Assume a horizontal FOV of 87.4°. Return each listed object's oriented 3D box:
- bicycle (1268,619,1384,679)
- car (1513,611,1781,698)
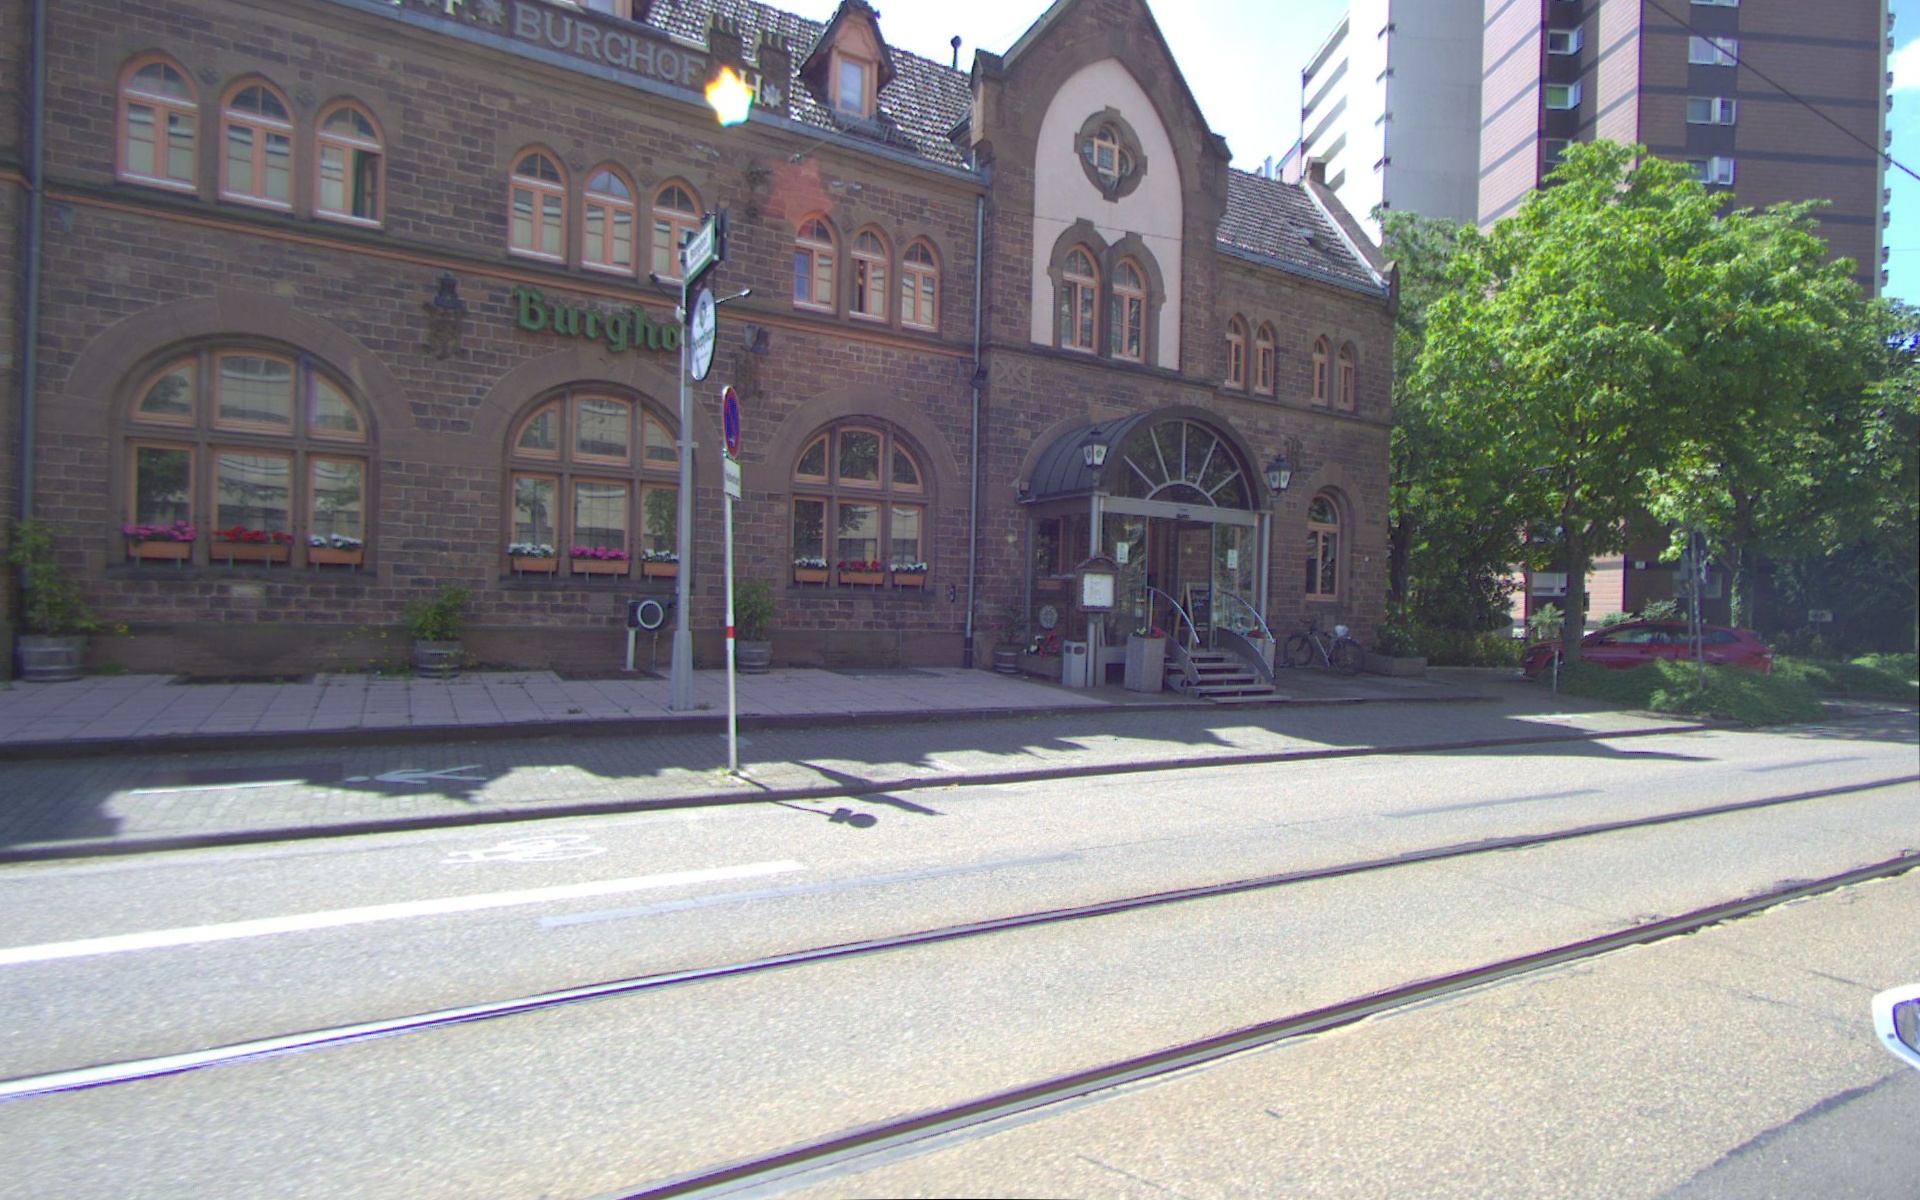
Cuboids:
[{"bbox_3d":[7.084,0.933,19.511,1.974,0.903,0.594,8,5,44],"label":"bicycle"},{"bbox_3d":[15.036,1.134,22.330,4.697,1.587,1.997,2,0,32],"label":"car"}]
